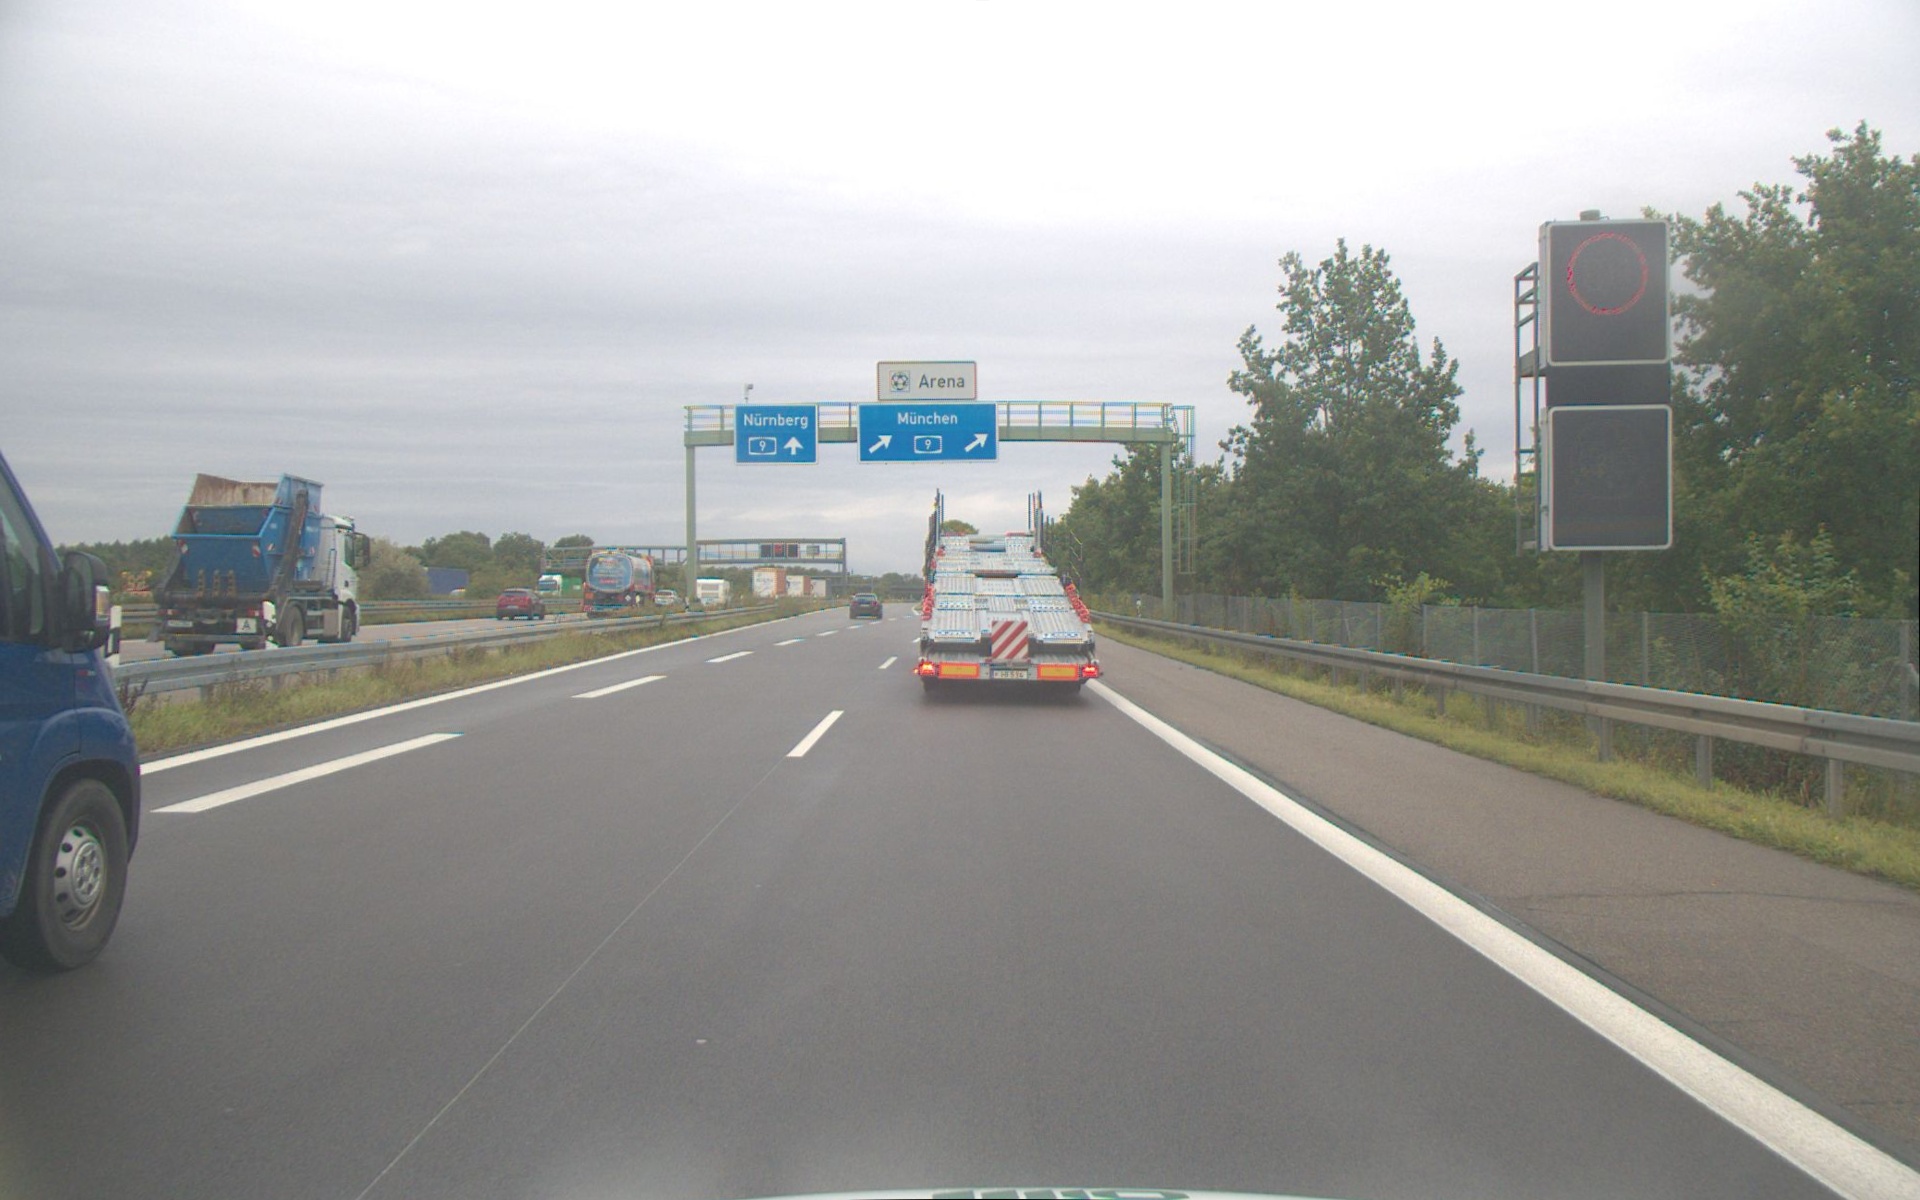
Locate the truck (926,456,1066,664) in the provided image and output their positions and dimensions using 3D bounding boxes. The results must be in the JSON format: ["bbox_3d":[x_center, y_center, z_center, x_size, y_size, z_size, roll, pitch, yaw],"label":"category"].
[{"bbox_3d":[0.662,-0.823,37.107,2.683,4.037,9.127,1,0,-1],"label":"truck"}]

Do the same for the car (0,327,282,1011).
[{"bbox_3d":[-4.367,0.217,4.810,2.325,2.306,6.254,1,0,-2],"label":"car"}]

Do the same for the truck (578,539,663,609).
[{"bbox_3d":[-17.561,-1.292,86.068,2.799,3.423,8.628,1,0,-1],"label":"truck"}]

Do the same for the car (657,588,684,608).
[{"bbox_3d":[-23.237,-0.155,132.771,1.649,1.557,3.997,1,0,-4],"label":"car"}]

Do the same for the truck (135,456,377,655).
[{"bbox_3d":[-15.176,-0.855,36.314,2.586,3.879,7.337,1,0,-4],"label":"truck"}]

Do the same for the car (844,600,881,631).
[{"bbox_3d":[-5.503,0.843,93.844,1.921,1.666,5.623,1,0,-1],"label":"car"}]

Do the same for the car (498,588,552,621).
[{"bbox_3d":[-21.582,0.210,82.220,1.758,1.584,3.825,1,0,-2],"label":"car"}]

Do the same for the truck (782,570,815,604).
[{"bbox_3d":[-21.944,-1.778,225.329,3.657,4.494,11.893,1,0,-1],"label":"truck"}]

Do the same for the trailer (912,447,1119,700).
[{"bbox_3d":[0.726,-0.387,27.334,2.721,3.342,10.406,1,0,0],"label":"trailer"}]

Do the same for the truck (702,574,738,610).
[{"bbox_3d":[-18.906,-0.649,130.458,2.197,2.751,5.278,1,0,-1],"label":"truck"}]

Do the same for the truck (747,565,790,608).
[{"bbox_3d":[-20.706,-1.449,179.753,3.657,4.494,10.192,1,0,-1],"label":"truck"}]

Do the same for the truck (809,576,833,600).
[{"bbox_3d":[-22.172,-1.925,263.901,2.967,3.749,12.145,1,0,-1],"label":"truck"}]
